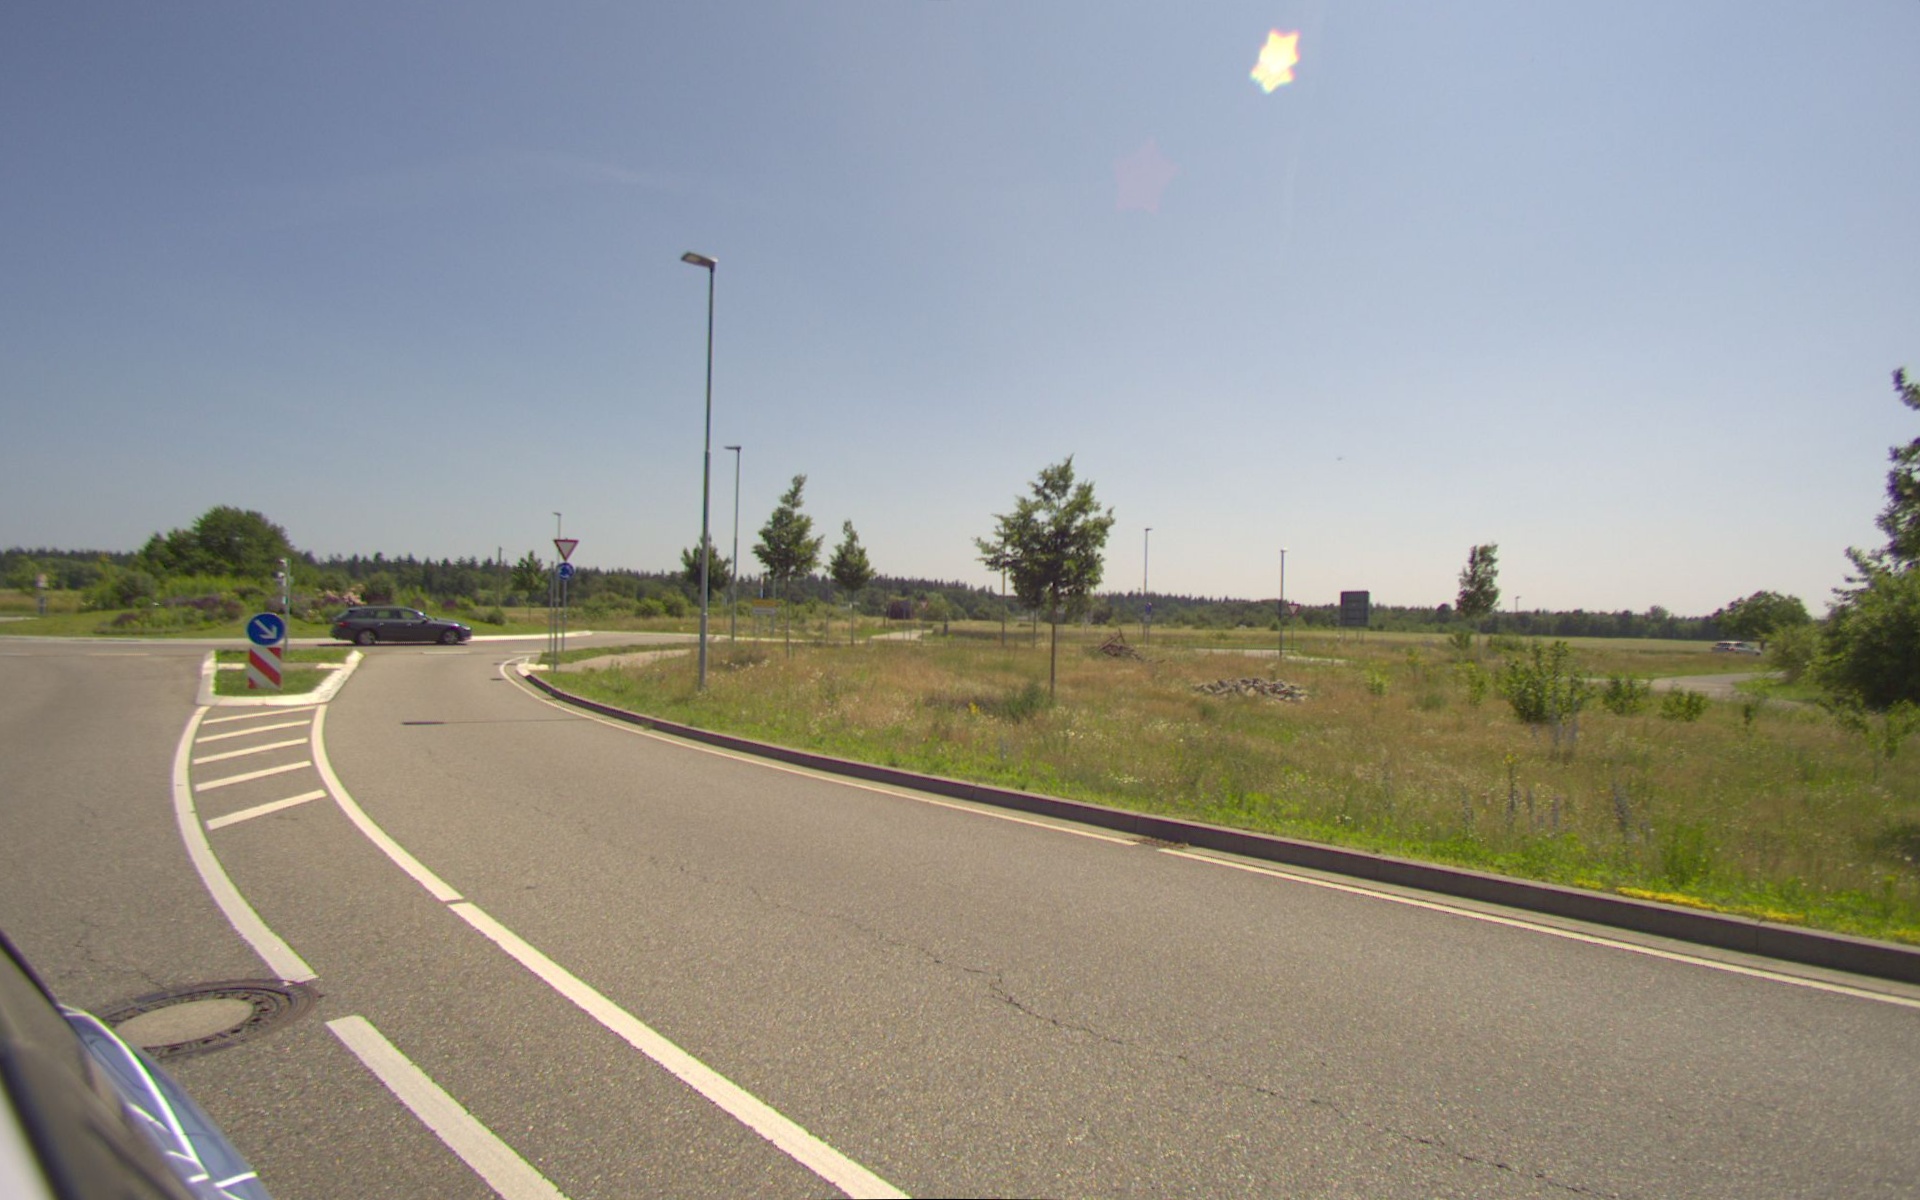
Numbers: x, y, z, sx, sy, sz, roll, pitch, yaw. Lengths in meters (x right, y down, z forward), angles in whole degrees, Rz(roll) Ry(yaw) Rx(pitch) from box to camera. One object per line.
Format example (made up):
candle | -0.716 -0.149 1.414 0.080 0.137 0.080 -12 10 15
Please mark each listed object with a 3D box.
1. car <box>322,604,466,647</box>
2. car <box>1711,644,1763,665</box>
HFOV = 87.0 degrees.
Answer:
car | -21.252 0.967 38.105 4.448 1.445 1.873 2 1 -39
car | 60.379 4.238 78.659 3.539 1.475 1.735 2 -2 -24
